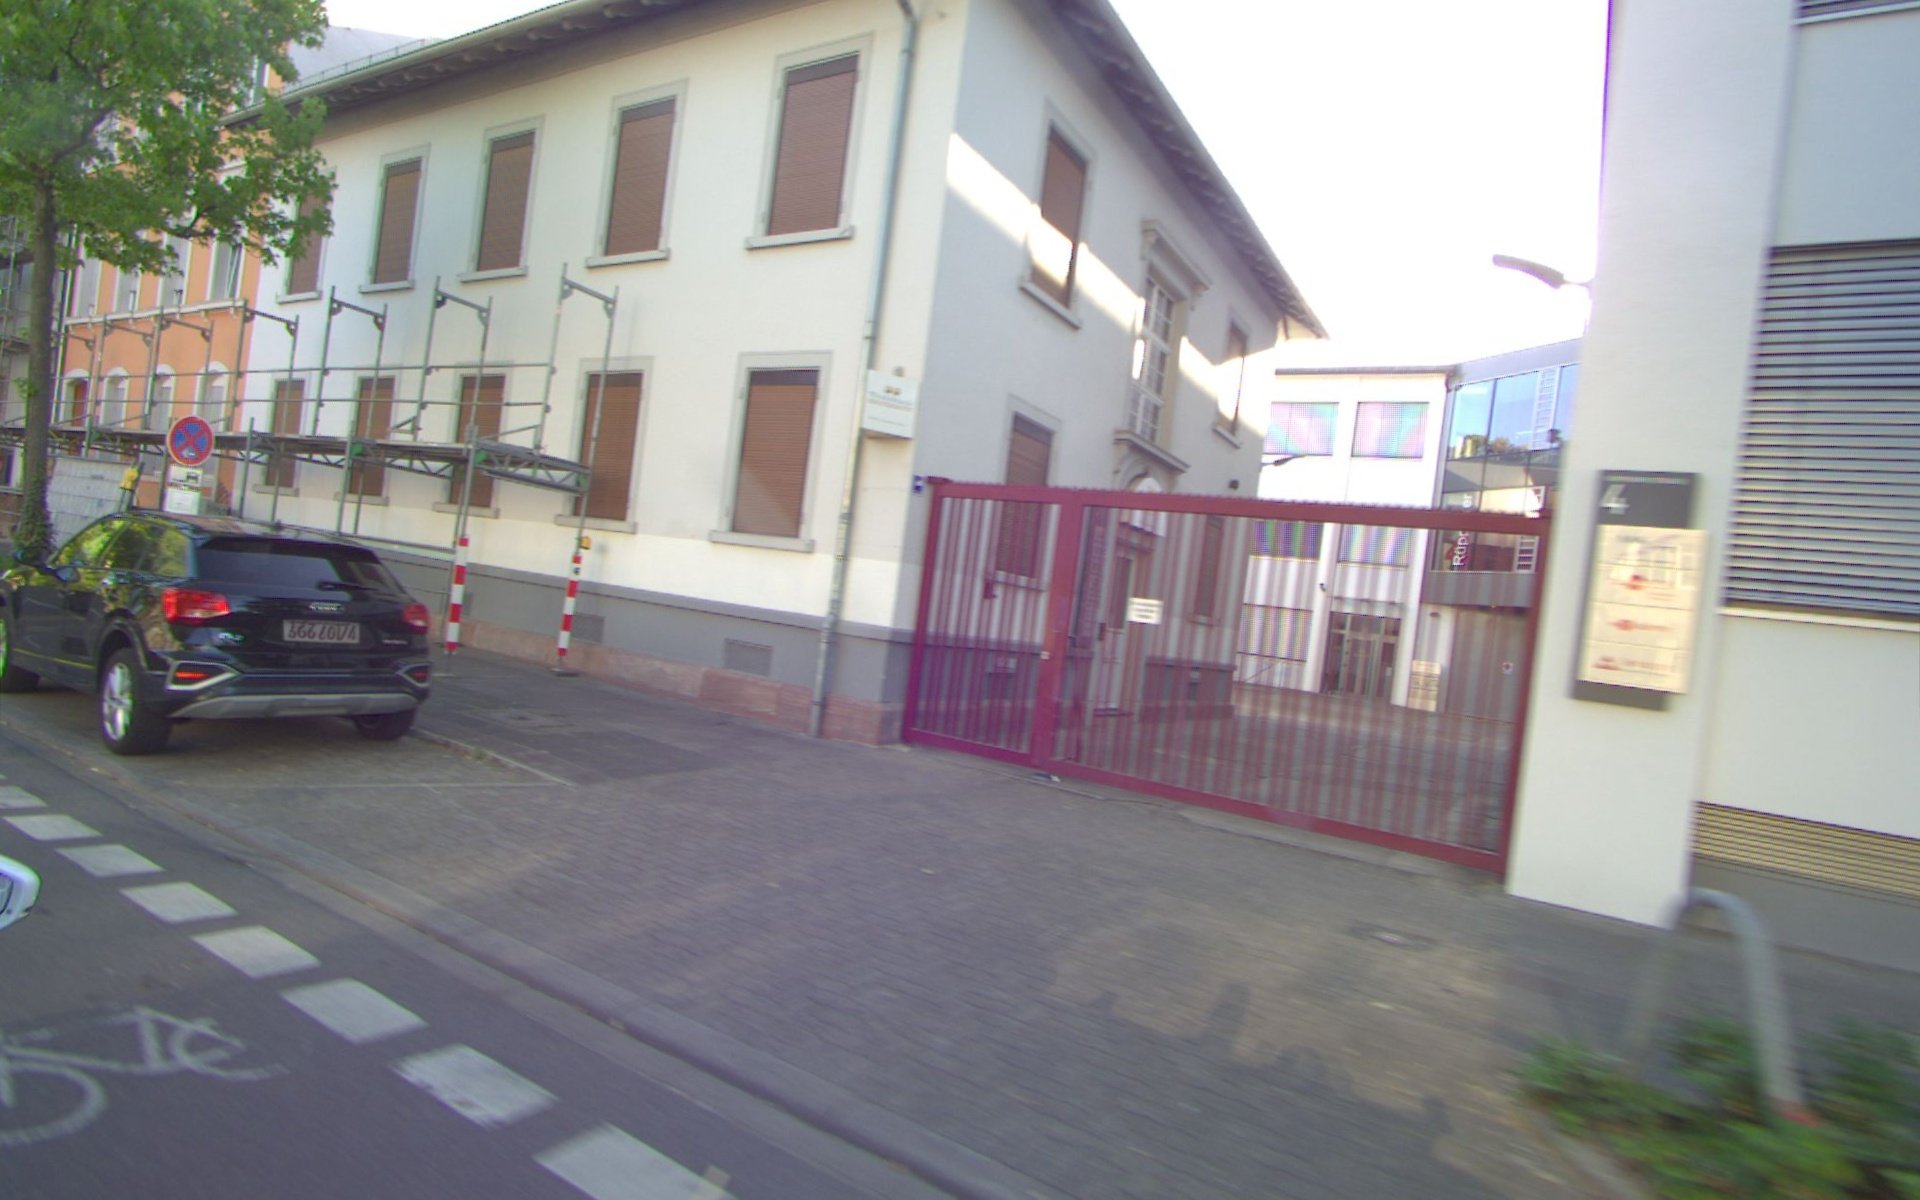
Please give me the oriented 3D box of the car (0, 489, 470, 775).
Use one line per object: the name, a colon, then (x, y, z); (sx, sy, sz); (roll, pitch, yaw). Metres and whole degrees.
car: (-5.770, 0.108, 7.634); (4.042, 1.502, 1.765); (7, 1, 33)
